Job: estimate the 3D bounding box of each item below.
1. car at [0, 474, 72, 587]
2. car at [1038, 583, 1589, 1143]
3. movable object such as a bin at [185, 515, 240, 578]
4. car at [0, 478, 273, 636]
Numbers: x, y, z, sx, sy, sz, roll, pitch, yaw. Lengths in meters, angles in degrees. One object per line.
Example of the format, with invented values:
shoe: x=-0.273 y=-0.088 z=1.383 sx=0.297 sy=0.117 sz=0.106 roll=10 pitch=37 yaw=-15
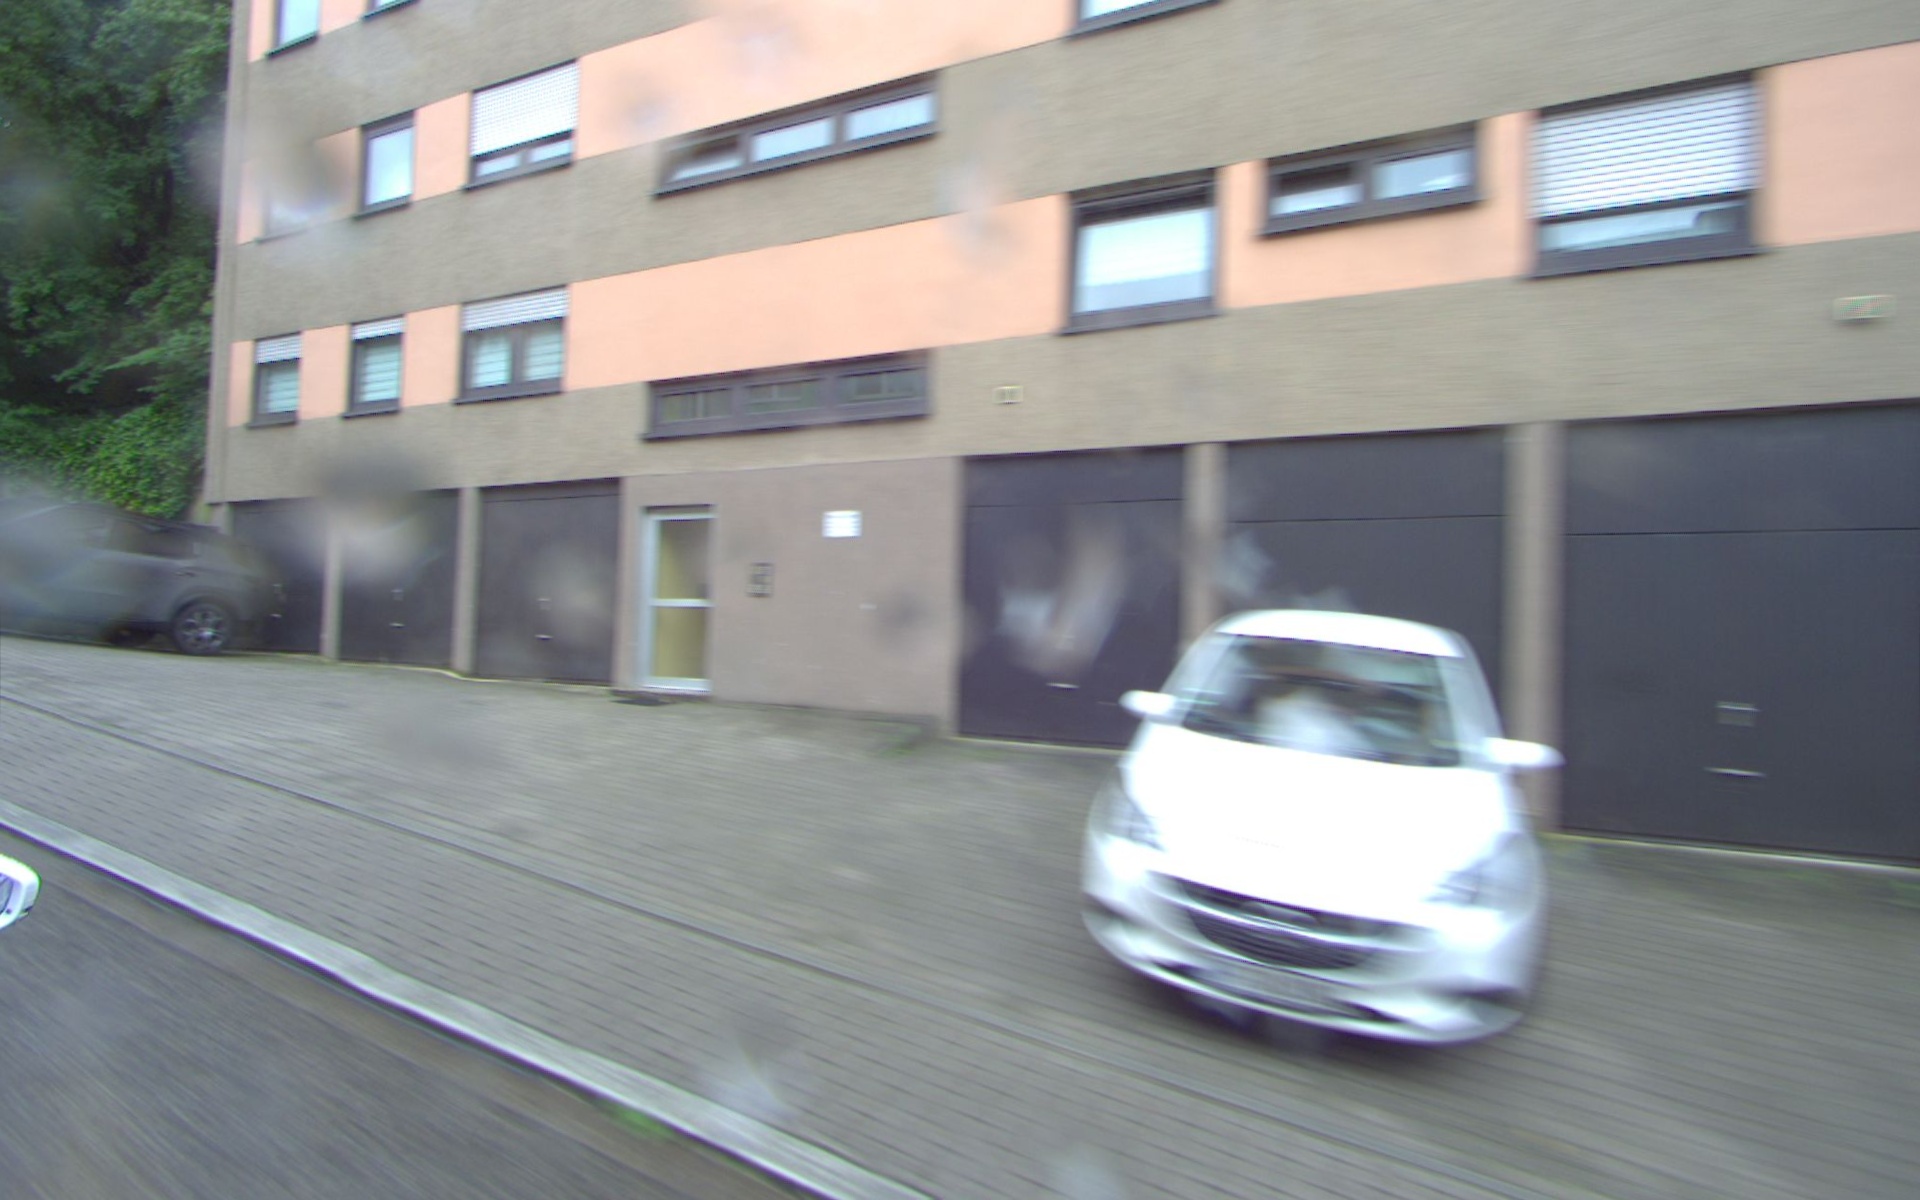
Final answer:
car: x=-17.052 y=-1.398 z=15.774 sx=1.728 sy=1.754 sz=4.215 roll=7 pitch=-3 yaw=22
car: x=1.891 y=0.823 z=5.345 sx=1.661 sy=1.552 sz=3.963 roll=7 pitch=5 yaw=22
movable object such as a bin: x=-13.717 y=-0.977 z=18.464 sx=0.592 sy=1.074 sz=0.509 roll=5 pitch=-1 yaw=26
car: x=-10.843 y=-0.577 z=11.784 sx=1.728 sy=1.512 sz=4.214 roll=7 pitch=-3 yaw=24
